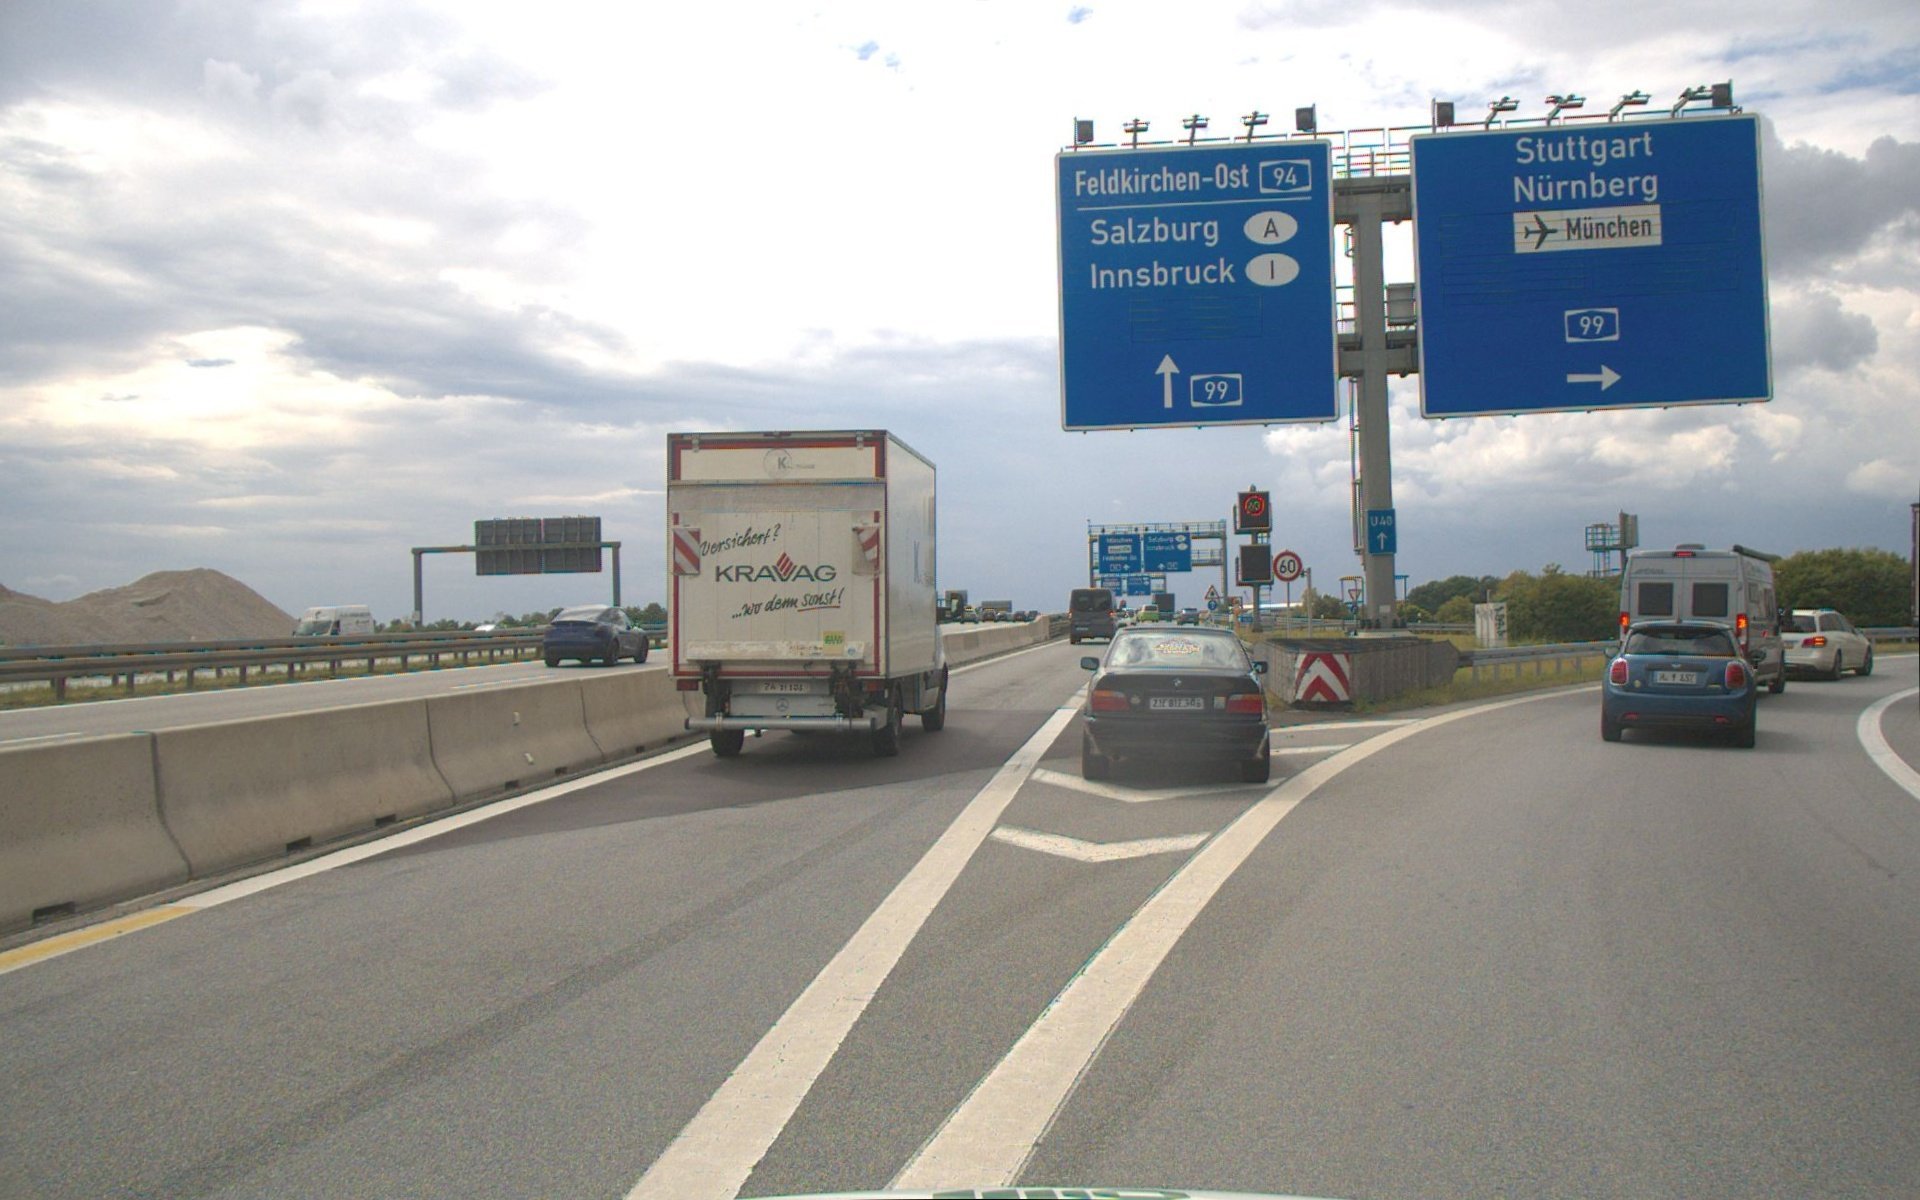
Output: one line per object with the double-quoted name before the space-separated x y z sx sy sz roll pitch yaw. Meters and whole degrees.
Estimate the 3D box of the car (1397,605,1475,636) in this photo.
"car" 28.571 1.230 99.427 1.978 1.803 4.192 0 0 -36

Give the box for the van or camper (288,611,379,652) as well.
"van or camper" -32.916 1.610 87.113 2.188 2.049 6.280 -1 0 2

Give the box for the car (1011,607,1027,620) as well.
"car" 7.306 1.640 205.283 1.736 1.557 4.002 -1 0 5

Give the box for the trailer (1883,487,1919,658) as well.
"trailer" 29.281 -0.692 44.910 12.917 4.267 3.291 0 -1 -42

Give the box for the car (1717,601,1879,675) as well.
"car" 18.716 0.803 36.836 2.173 1.527 4.761 -1 -1 40

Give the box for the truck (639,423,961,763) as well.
"truck" -1.501 -0.048 18.579 2.353 3.144 6.374 0 0 6

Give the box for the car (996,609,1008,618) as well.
"car" 6.185 1.982 245.848 1.520 1.400 4.002 0 0 5

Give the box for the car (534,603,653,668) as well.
"car" -10.012 0.954 45.513 1.951 1.691 4.386 0 0 5

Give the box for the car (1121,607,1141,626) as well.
"car" 13.993 1.335 134.949 1.551 1.510 3.537 -1 0 6

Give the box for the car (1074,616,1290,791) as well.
"car" 2.052 0.877 15.656 1.744 1.402 4.140 -1 0 6

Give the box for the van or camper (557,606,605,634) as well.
"van or camper" -30.119 1.570 131.479 2.141 2.210 5.812 -1 0 3

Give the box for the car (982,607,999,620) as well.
"car" 3.921 1.685 212.822 1.861 1.667 4.236 0 0 5

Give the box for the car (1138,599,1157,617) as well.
"car" 21.084 0.881 185.796 1.951 2.049 4.002 -1 0 4

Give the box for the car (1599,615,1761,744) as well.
"car" 9.042 0.920 20.639 1.695 1.444 3.662 0 -1 26

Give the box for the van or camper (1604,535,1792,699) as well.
"van or camper" 13.341 0.279 29.639 2.252 2.613 6.145 -1 0 32

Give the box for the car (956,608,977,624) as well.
"car" 0.763 1.770 181.537 1.861 1.669 4.648 0 0 5

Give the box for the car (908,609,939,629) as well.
"car" -2.942 1.516 134.729 2.016 1.554 4.570 0 0 5

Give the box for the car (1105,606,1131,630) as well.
"car" 10.491 1.172 109.814 1.665 1.534 3.842 -1 0 5

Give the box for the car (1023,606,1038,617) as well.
"car" 11.209 1.836 262.607 1.951 1.713 4.869 -1 0 6

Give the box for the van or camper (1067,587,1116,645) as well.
"van or camper" 5.792 0.669 72.252 1.957 2.412 6.130 -1 0 6
